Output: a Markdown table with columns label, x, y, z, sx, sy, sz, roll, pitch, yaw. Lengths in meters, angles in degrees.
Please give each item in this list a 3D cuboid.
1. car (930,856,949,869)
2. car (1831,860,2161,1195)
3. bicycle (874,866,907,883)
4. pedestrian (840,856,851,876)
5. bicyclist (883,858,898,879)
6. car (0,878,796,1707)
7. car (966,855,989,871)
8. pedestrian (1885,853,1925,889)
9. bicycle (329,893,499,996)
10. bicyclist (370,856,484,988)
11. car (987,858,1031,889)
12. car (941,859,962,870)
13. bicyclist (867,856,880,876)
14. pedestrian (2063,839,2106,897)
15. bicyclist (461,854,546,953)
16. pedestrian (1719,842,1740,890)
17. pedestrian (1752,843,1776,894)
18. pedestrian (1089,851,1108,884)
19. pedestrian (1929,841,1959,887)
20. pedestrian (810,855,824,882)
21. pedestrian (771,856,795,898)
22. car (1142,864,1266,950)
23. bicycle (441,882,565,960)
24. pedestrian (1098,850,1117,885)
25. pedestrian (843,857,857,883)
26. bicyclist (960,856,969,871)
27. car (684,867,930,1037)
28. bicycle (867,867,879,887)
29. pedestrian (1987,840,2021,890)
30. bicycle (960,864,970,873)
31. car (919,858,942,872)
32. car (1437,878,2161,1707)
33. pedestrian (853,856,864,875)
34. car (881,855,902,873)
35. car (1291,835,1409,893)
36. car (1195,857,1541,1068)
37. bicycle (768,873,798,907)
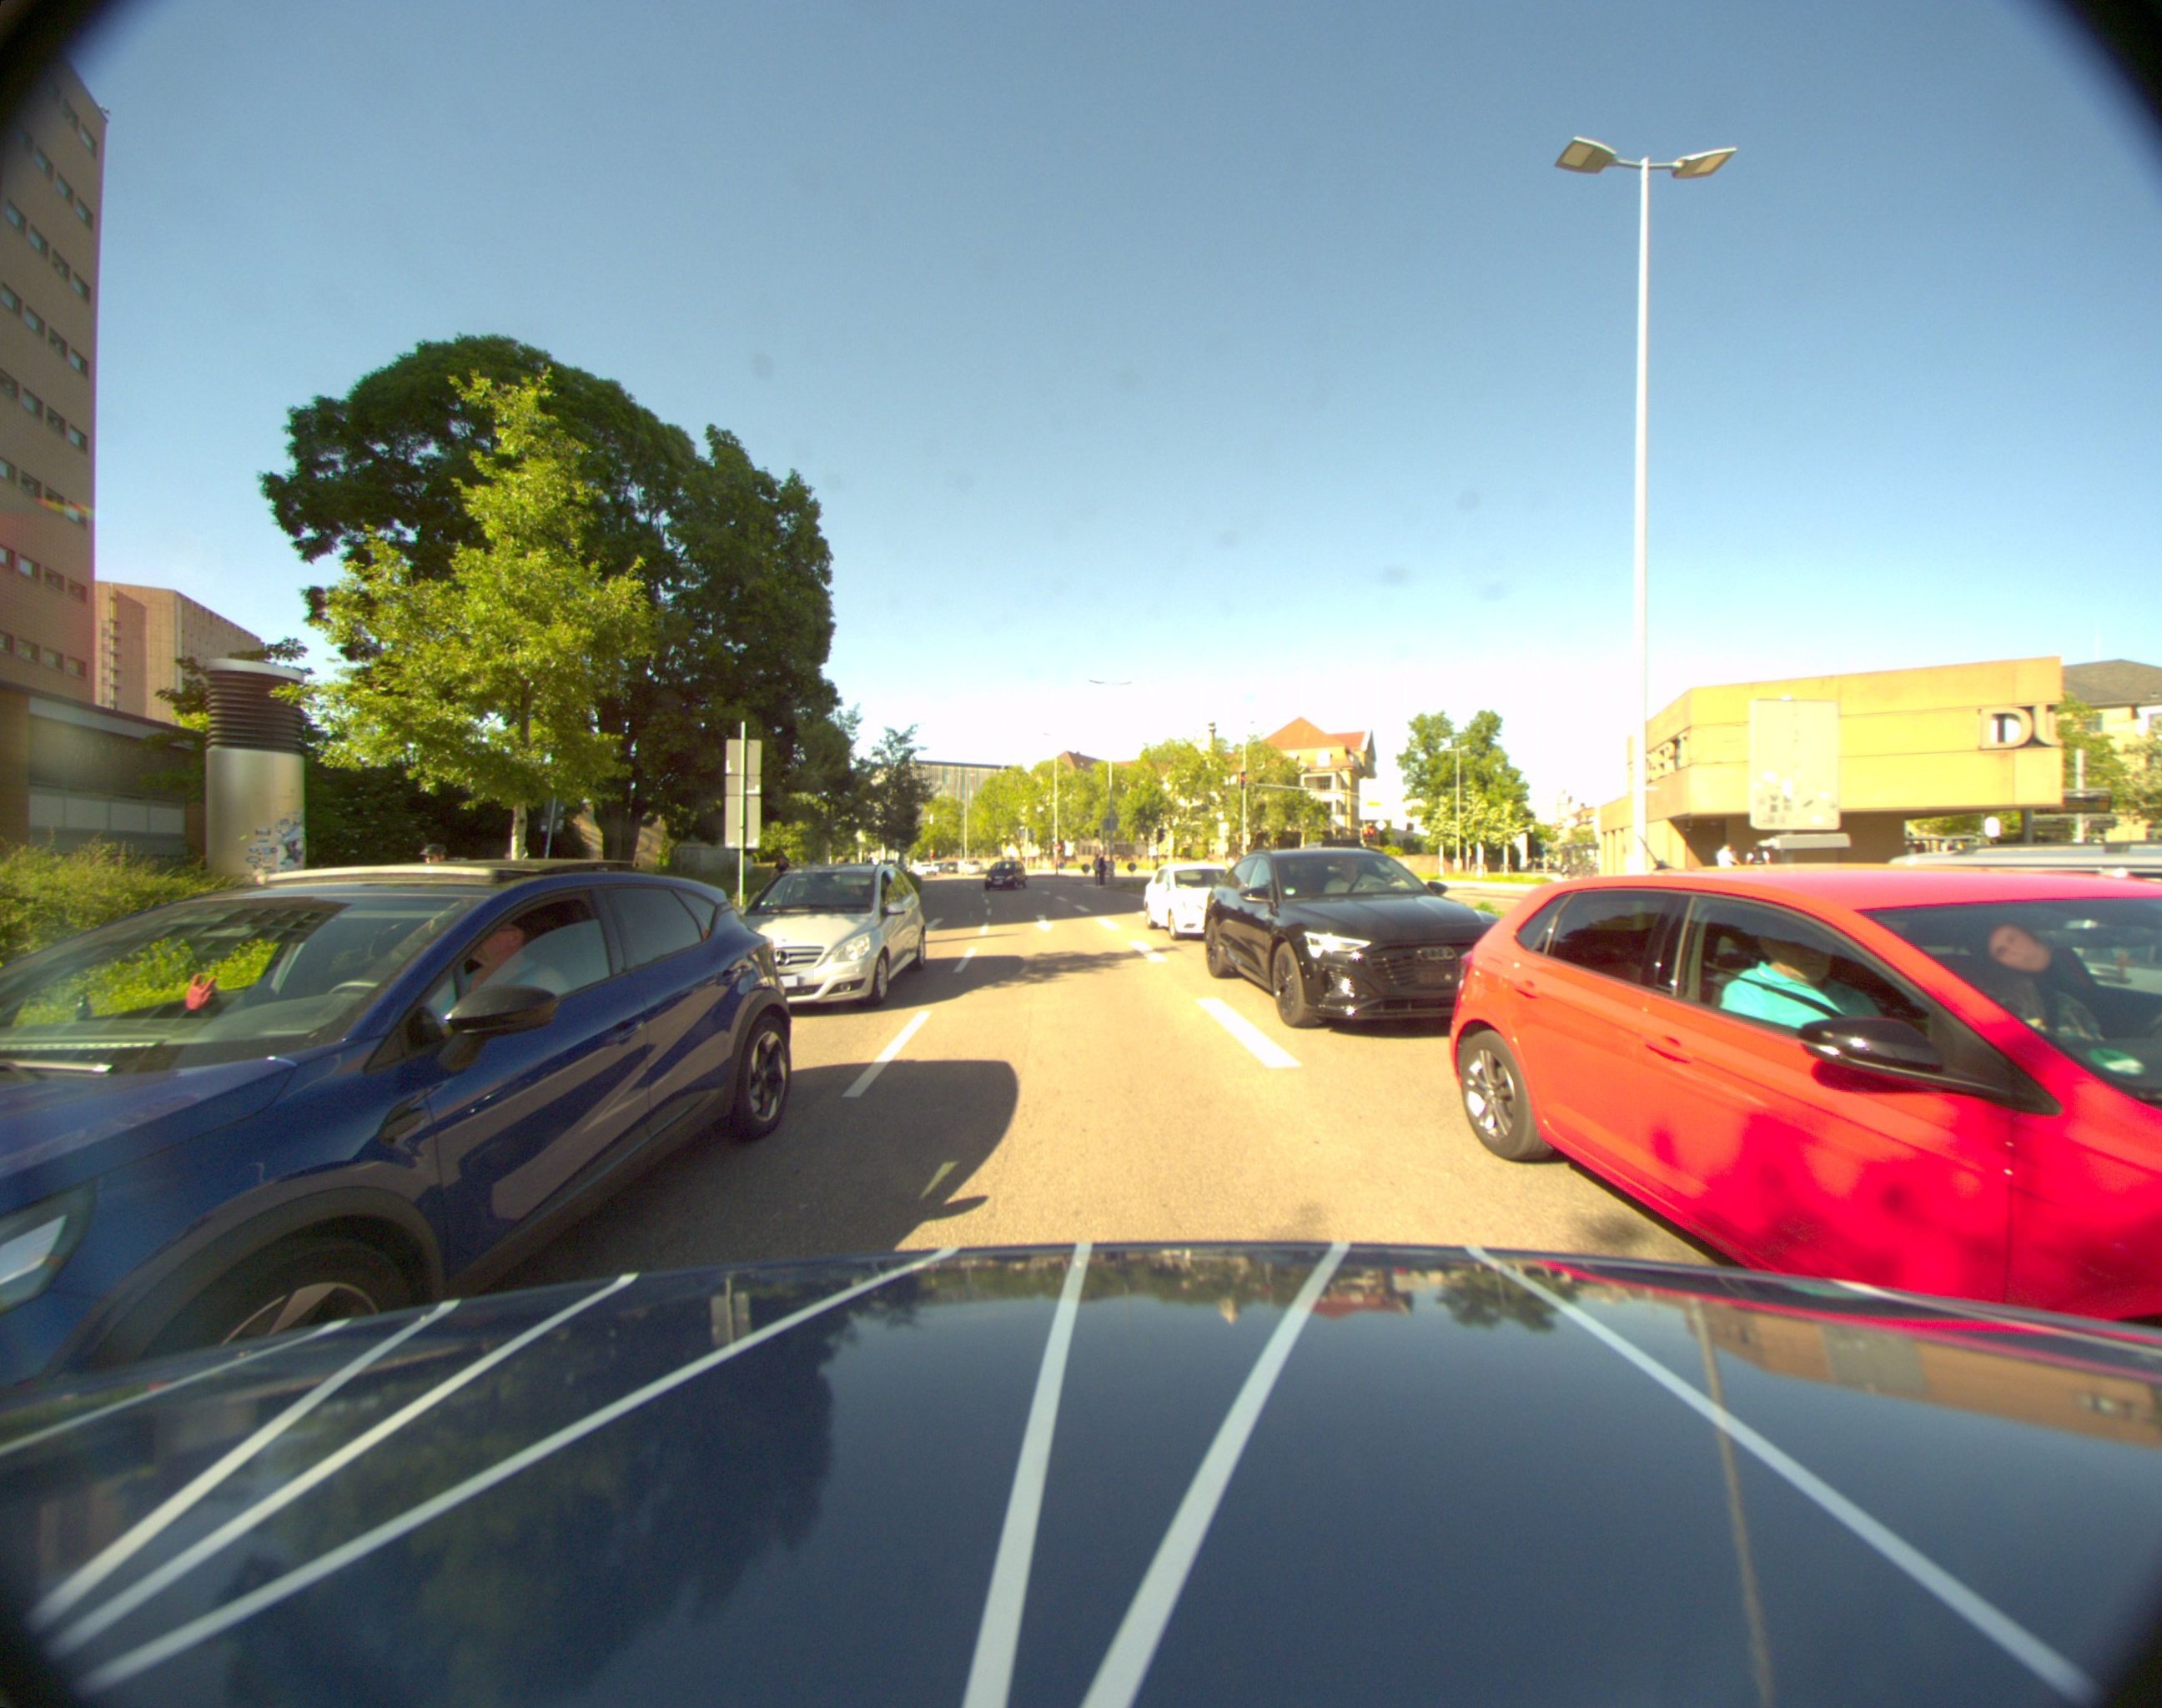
| label | x | y | z | sx | sy | sz | roll | pitch | yaw |
| --- | --- | --- | --- | --- | --- | --- | --- | --- | --- |
| car | -18.001 | 1.132 | 96.505 | 1.598 | 1.595 | 3.066 | -1 | 0 | -25 |
| car | 5.776 | 0.790 | 2.525 | 1.713 | 1.464 | 4.750 | -1 | 0 | -3 |
| bicycle | -13.420 | 1.430 | 53.461 | 2.128 | 1.168 | 0.764 | -1 | 0 | -28 |
| pedestrian | -23.277 | 1.172 | 75.208 | 0.823 | 1.906 | 0.770 | -2 | 1 | -29 |
| bicyclist | -13.382 | 1.006 | 53.480 | 0.848 | 1.465 | 0.764 | -1 | 0 | -28 |
| car | -2.677 | 0.958 | 2.744 | 1.705 | 1.596 | 4.084 | -1 | 0 | 0 |
| car | -11.135 | 0.944 | 81.976 | 1.527 | 1.669 | 3.374 | -2 | 0 | -24 |
| pedestrian | 30.276 | 0.620 | 27.929 | 0.645 | 1.303 | 0.763 | -1 | 0 | 10 |
| bicycle | -8.475 | 1.099 | 9.773 | 0.627 | 1.107 | 1.850 | 0 | 0 | -3 |
| bicyclist | -8.480 | 0.840 | 9.898 | 0.627 | 1.628 | 0.994 | 0 | 0 | -3 |
| car | -3.930 | 1.041 | 41.863 | 1.650 | 1.601 | 3.492 | 0 | 0 | 8 |
| car | -15.367 | 1.204 | 90.111 | 1.587 | 1.198 | 3.992 | -2 | 1 | -23 |
| bicyclist | -13.075 | 0.749 | 47.891 | 0.723 | 1.271 | 0.906 | 2 | 0 | -16 |
| pedestrian | 31.080 | 0.442 | 23.539 | 0.644 | 1.766 | 0.469 | -1 | 0 | 21 |
| bicyclist | -9.643 | 0.793 | 12.720 | 0.687 | 1.589 | 0.977 | 0 | 0 | -2 |
| pedestrian | 24.091 | 0.436 | 28.225 | 0.467 | 1.766 | 0.647 | 0 | 0 | 29 |
| pedestrian | 24.257 | 0.513 | 26.983 | 0.644 | 1.766 | 0.618 | 0 | 0 | 42 |
| pedestrian | 0.964 | 0.755 | 42.282 | 0.887 | 1.814 | 0.776 | -2 | 1 | -7 |
| pedestrian | 33.322 | 0.378 | 29.343 | 0.645 | 1.766 | 0.468 | -1 | 0 | -4 |
| pedestrian | -15.699 | 0.850 | 45.193 | 0.694 | 1.594 | 0.660 | 0 | 0 | -27 |
| pedestrian | -10.099 | 0.772 | 25.729 | 0.517 | 1.394 | 0.961 | 1 | 0 | -8 |
| car | 2.355 | 0.970 | 15.448 | 1.575 | 1.410 | 3.711 | -3 | 0 | -5 |
| bicycle | -9.644 | 1.072 | 12.776 | 0.687 | 1.157 | 1.883 | 0 | 0 | -2 |
| pedestrian | 1.423 | 0.725 | 41.057 | 0.757 | 1.814 | 0.775 | -2 | 1 | -17 |
| pedestrian | -14.290 | 0.996 | 47.036 | 0.694 | 1.594 | 0.660 | 0 | 0 | -27 |
| bicyclist | -11.879 | 0.972 | 77.638 | 0.696 | 1.549 | 0.814 | -2 | 1 | -23 |
| car | -3.124 | 1.006 | 9.600 | 1.786 | 1.615 | 4.042 | -1 | 0 | -3 |
| bicycle | -13.213 | 1.473 | 48.298 | 0.693 | 1.211 | 1.832 | 2 | 0 | -16 |
| pedestrian | 33.217 | 0.390 | 27.347 | 0.645 | 1.766 | 0.468 | -1 | 0 | -4 |
| bicycle | -11.878 | 1.436 | 77.691 | 0.591 | 0.884 | 1.652 | -2 | 0 | -23 |
| car | -16.251 | 1.173 | 81.946 | 1.754 | 1.370 | 3.568 | -1 | 0 | -21 |
| car | 2.796 | 0.886 | 2.223 | 1.674 | 1.464 | 3.853 | -2 | 0 | 0 |
| pedestrian | -22.087 | 1.128 | 75.519 | 0.823 | 1.906 | 0.770 | -2 | 1 | -29 |
| car | -21.131 | 1.094 | 84.477 | 1.830 | 1.842 | 3.745 | 0 | 0 | -21 |
| car | 11.528 | 0.412 | 33.216 | 2.117 | 2.299 | 6.209 | 0 | 0 | -9 |
| car | 2.580 | 0.852 | 8.136 | 1.859 | 1.606 | 4.452 | -1 | 0 | -2 |
| bicycle | -10.100 | 1.202 | 25.806 | 0.517 | 1.038 | 1.767 | 1 | 0 | -8 |
